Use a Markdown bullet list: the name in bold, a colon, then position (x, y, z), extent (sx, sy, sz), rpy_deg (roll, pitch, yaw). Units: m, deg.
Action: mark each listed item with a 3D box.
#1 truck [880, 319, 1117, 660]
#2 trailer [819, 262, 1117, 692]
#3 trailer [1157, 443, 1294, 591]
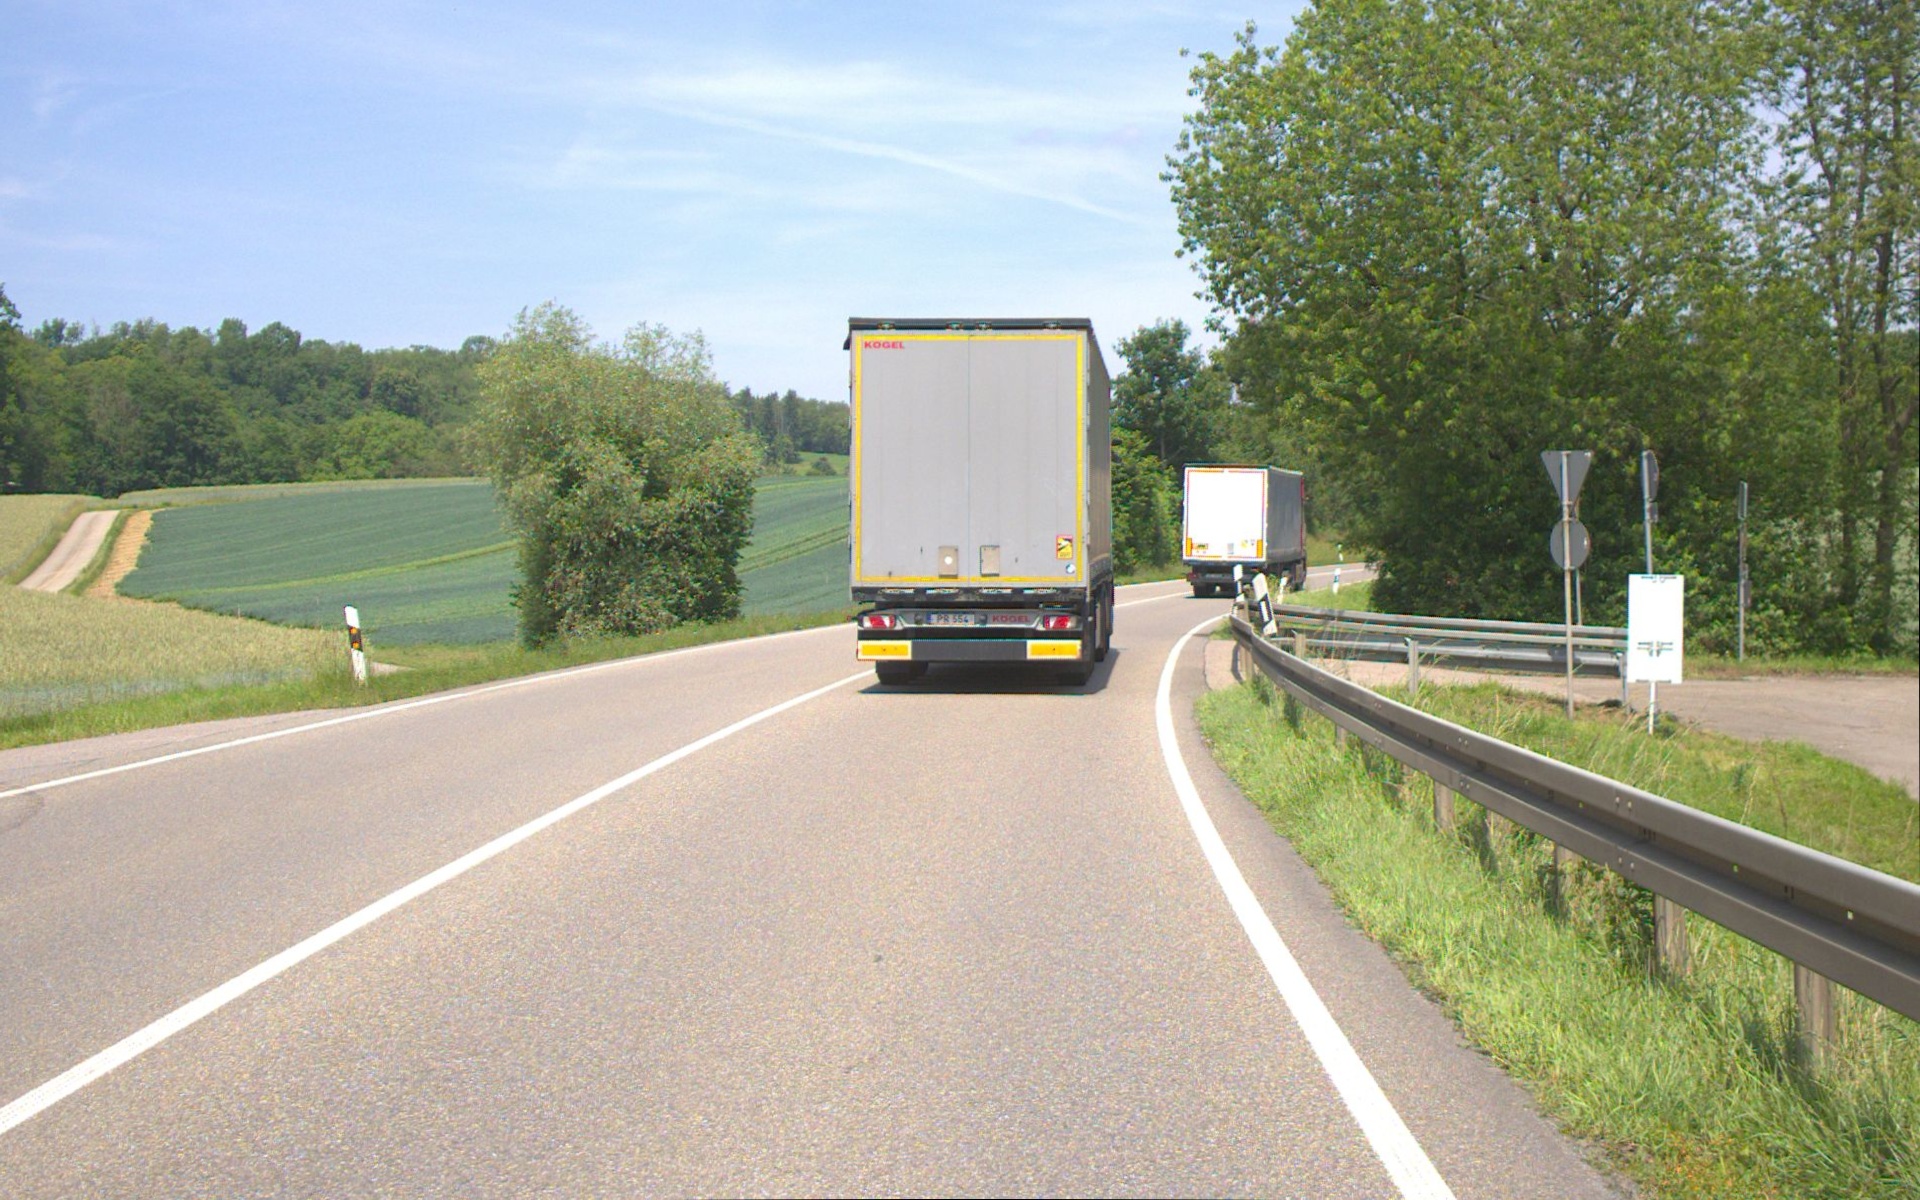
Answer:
- **truck**: position (0.652, -1.513, 48.649), extent (3.118, 4.479, 6.811), rpy_deg (0, 1, 2)
- **trailer**: position (0.377, -1.398, 42.863), extent (3.118, 4.484, 13.885), rpy_deg (0, 1, 2)
- **trailer**: position (8.589, -2.487, 109.574), extent (3.366, 4.302, 13.859), rpy_deg (0, 0, 8)
